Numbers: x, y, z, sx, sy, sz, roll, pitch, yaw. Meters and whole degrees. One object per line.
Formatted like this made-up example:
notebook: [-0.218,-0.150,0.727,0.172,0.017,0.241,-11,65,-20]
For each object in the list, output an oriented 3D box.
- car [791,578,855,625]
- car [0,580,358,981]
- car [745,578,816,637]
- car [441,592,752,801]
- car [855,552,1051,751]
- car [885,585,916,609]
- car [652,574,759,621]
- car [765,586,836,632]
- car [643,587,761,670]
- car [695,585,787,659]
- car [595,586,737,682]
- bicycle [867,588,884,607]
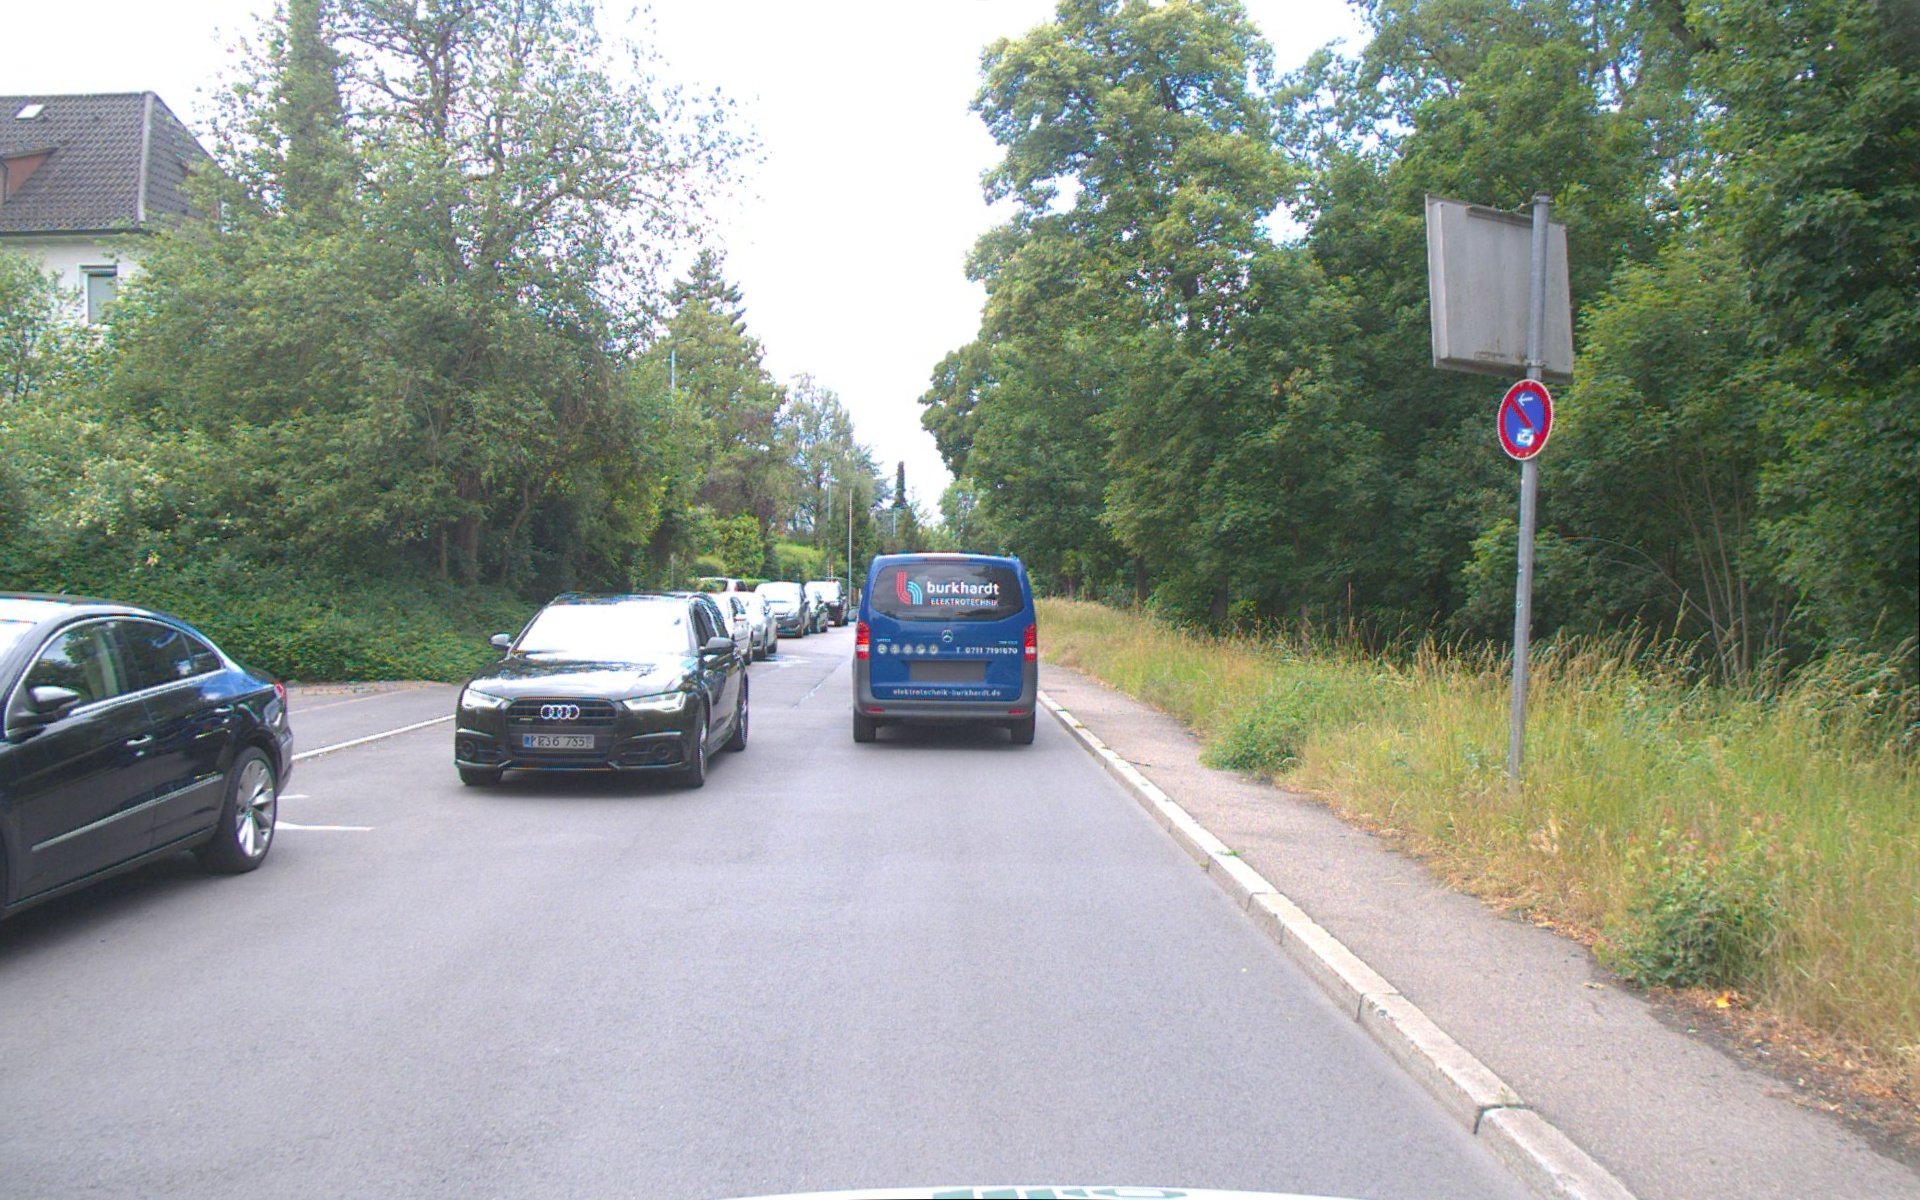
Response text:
car: [-5.436,0.046,66.449,1.933,1.767,5.191,2,0,2]
car: [-4.410,0.642,7.345,1.742,1.457,5.103,1,0,-2]
car: [-5.406,0.187,50.275,1.696,1.661,4.567,2,0,-1]
car: [-2.838,0.670,13.885,1.744,1.451,4.488,1,0,-2]
car: [-0.170,0.441,17.677,1.851,1.876,3.998,0,1,-3]
car: [-4.191,-0.225,117.719,1.798,1.659,4.302,2,0,2]
car: [-9.743,-0.119,63.505,3.613,1.666,1.830,2,0,12]
car: [-5.314,0.284,55.726,1.718,1.437,4.899,2,0,2]
car: [-4.956,0.501,32.276,1.625,1.478,4.381,0,1,0]
car: [-4.955,0.465,37.880,1.590,1.475,4.092,3,1,-2]
car: [-4.817,0.515,27.558,1.589,1.475,3.969,0,0,1]
bicycle: [-5.852,-0.167,114.833,0.887,1.273,2.917,3,0,2]
